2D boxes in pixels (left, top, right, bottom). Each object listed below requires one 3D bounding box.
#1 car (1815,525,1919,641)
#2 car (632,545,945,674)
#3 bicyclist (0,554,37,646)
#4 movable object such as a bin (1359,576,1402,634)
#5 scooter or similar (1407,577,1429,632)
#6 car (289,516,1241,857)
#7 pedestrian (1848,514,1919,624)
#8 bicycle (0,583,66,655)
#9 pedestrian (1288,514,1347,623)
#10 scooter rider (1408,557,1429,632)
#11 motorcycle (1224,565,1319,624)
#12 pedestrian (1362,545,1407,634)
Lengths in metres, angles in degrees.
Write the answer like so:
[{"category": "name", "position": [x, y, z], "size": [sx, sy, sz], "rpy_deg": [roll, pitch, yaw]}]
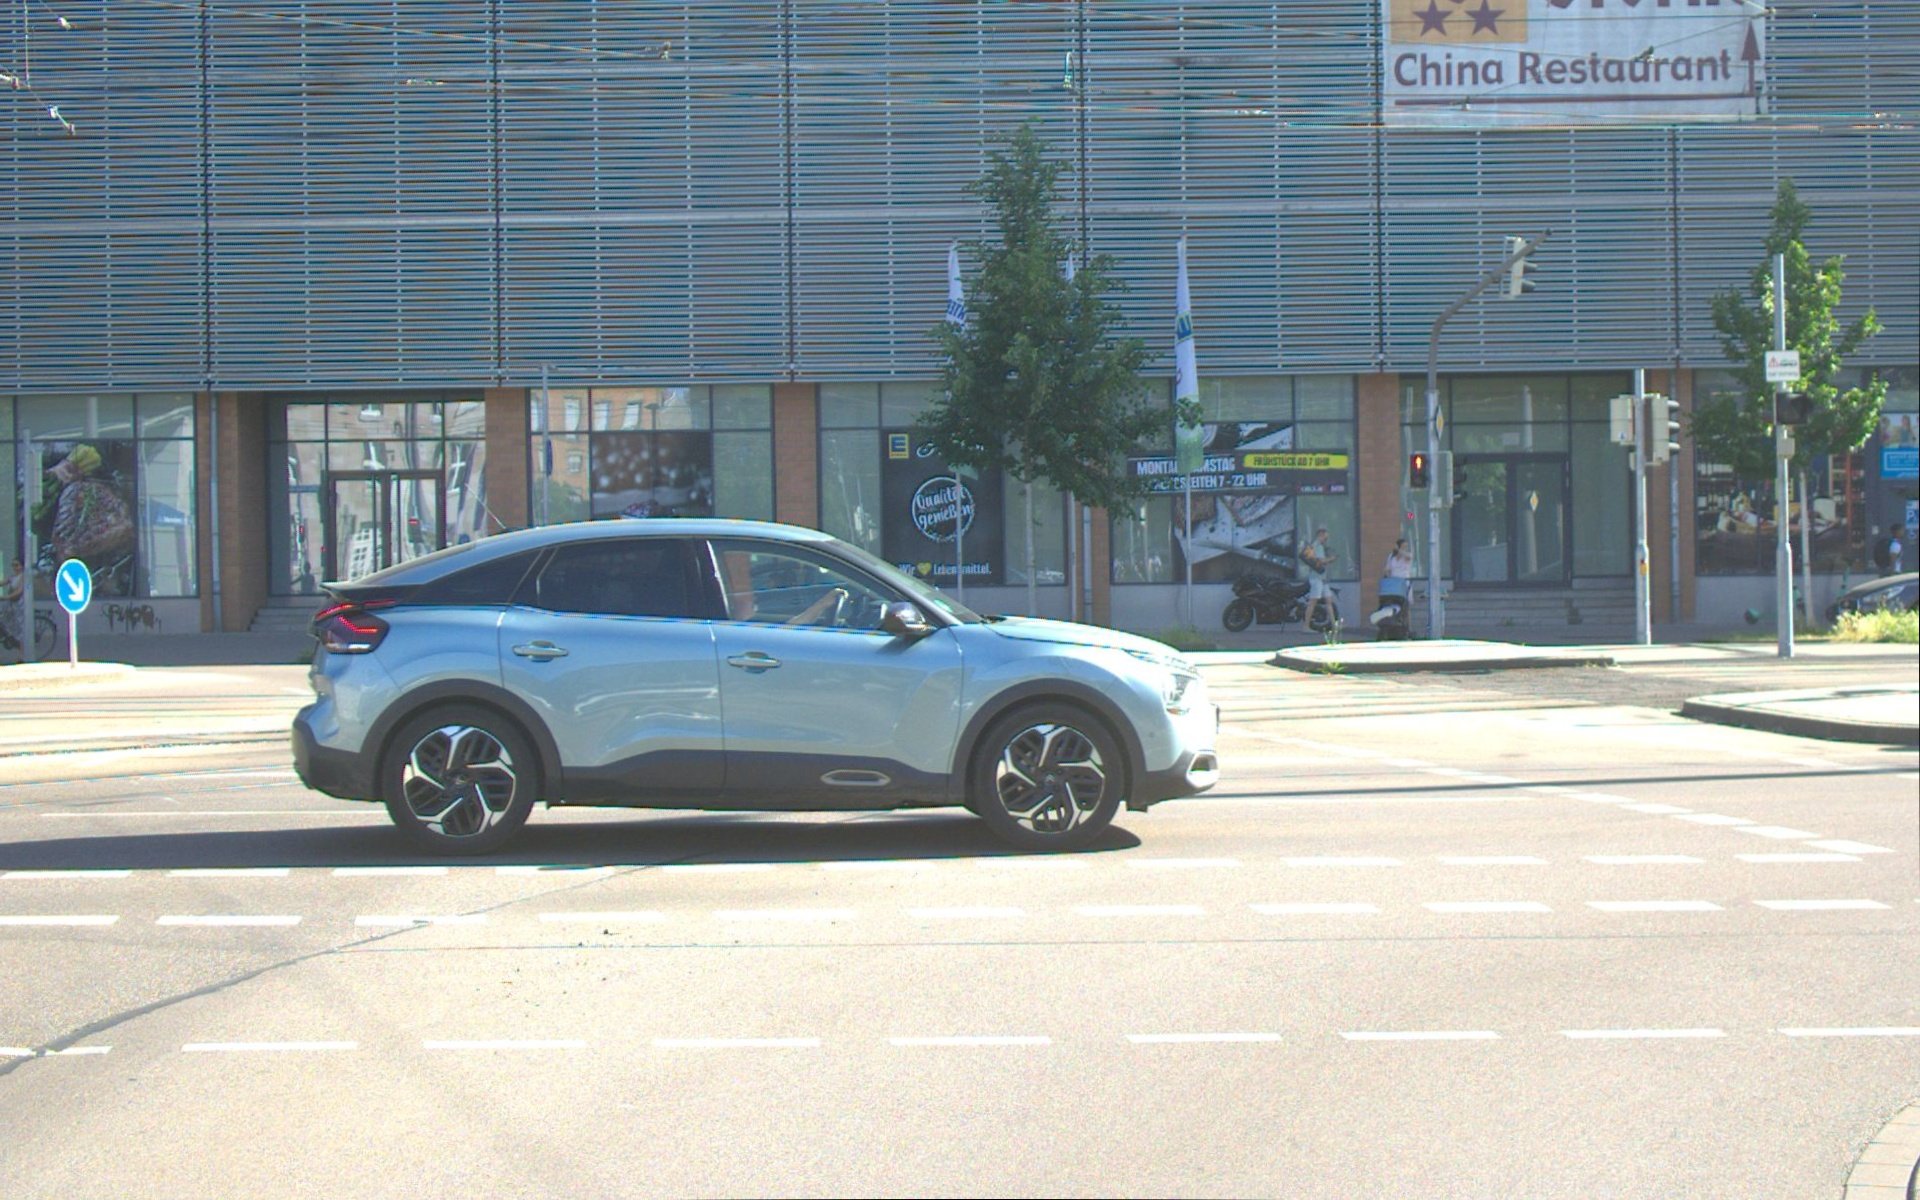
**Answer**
[{"category": "car", "position": [13.752, -0.143, 45.852], "size": [4.146, 1.464, 1.841], "rpy_deg": [3, 0, -1]}, {"category": "car", "position": [-2.408, 0.128, 48.933], "size": [4.289, 1.578, 1.841], "rpy_deg": [3, 0, -1]}, {"category": "bicyclist", "position": [-15.281, 0.001, 54.787], "size": [0.675, 1.422, 0.847], "rpy_deg": [1, 3, 43]}, {"category": "movable object such as a bin", "position": [6.710, 0.078, 54.814], "size": [0.613, 0.901, 0.968], "rpy_deg": [1, 0, 10]}, {"category": "scooter or similar", "position": [7.349, 0.074, 55.097], "size": [0.295, 0.870, 1.003], "rpy_deg": [1, 0, 10]}, {"category": "car", "position": [-0.940, 0.379, 16.290], "size": [4.263, 1.508, 1.709], "rpy_deg": [0, 1, -6]}, {"category": "pedestrian", "position": [15.764, -0.536, 58.567], "size": [1.012, 1.822, 1.035], "rpy_deg": [-2, 1, 3]}, {"category": "bicycle", "position": [-15.248, 0.310, 54.867], "size": [0.568, 1.082, 1.859], "rpy_deg": [1, 3, 43]}, {"category": "pedestrian", "position": [6.195, -0.535, 59.565], "size": [0.950, 1.822, 0.845], "rpy_deg": [-2, -3, 5]}, {"category": "scooter rider", "position": [7.342, -0.088, 55.035], "size": [0.288, 1.196, 0.385], "rpy_deg": [1, 0, 10]}, {"category": "motorcycle", "position": [5.492, -0.103, 60.641], "size": [1.640, 1.001, 0.446], "rpy_deg": [1, 1, 6]}, {"category": "pedestrian", "position": [6.829, -0.178, 55.275], "size": [0.655, 1.409, 0.849], "rpy_deg": [1, 0, 10]}]
